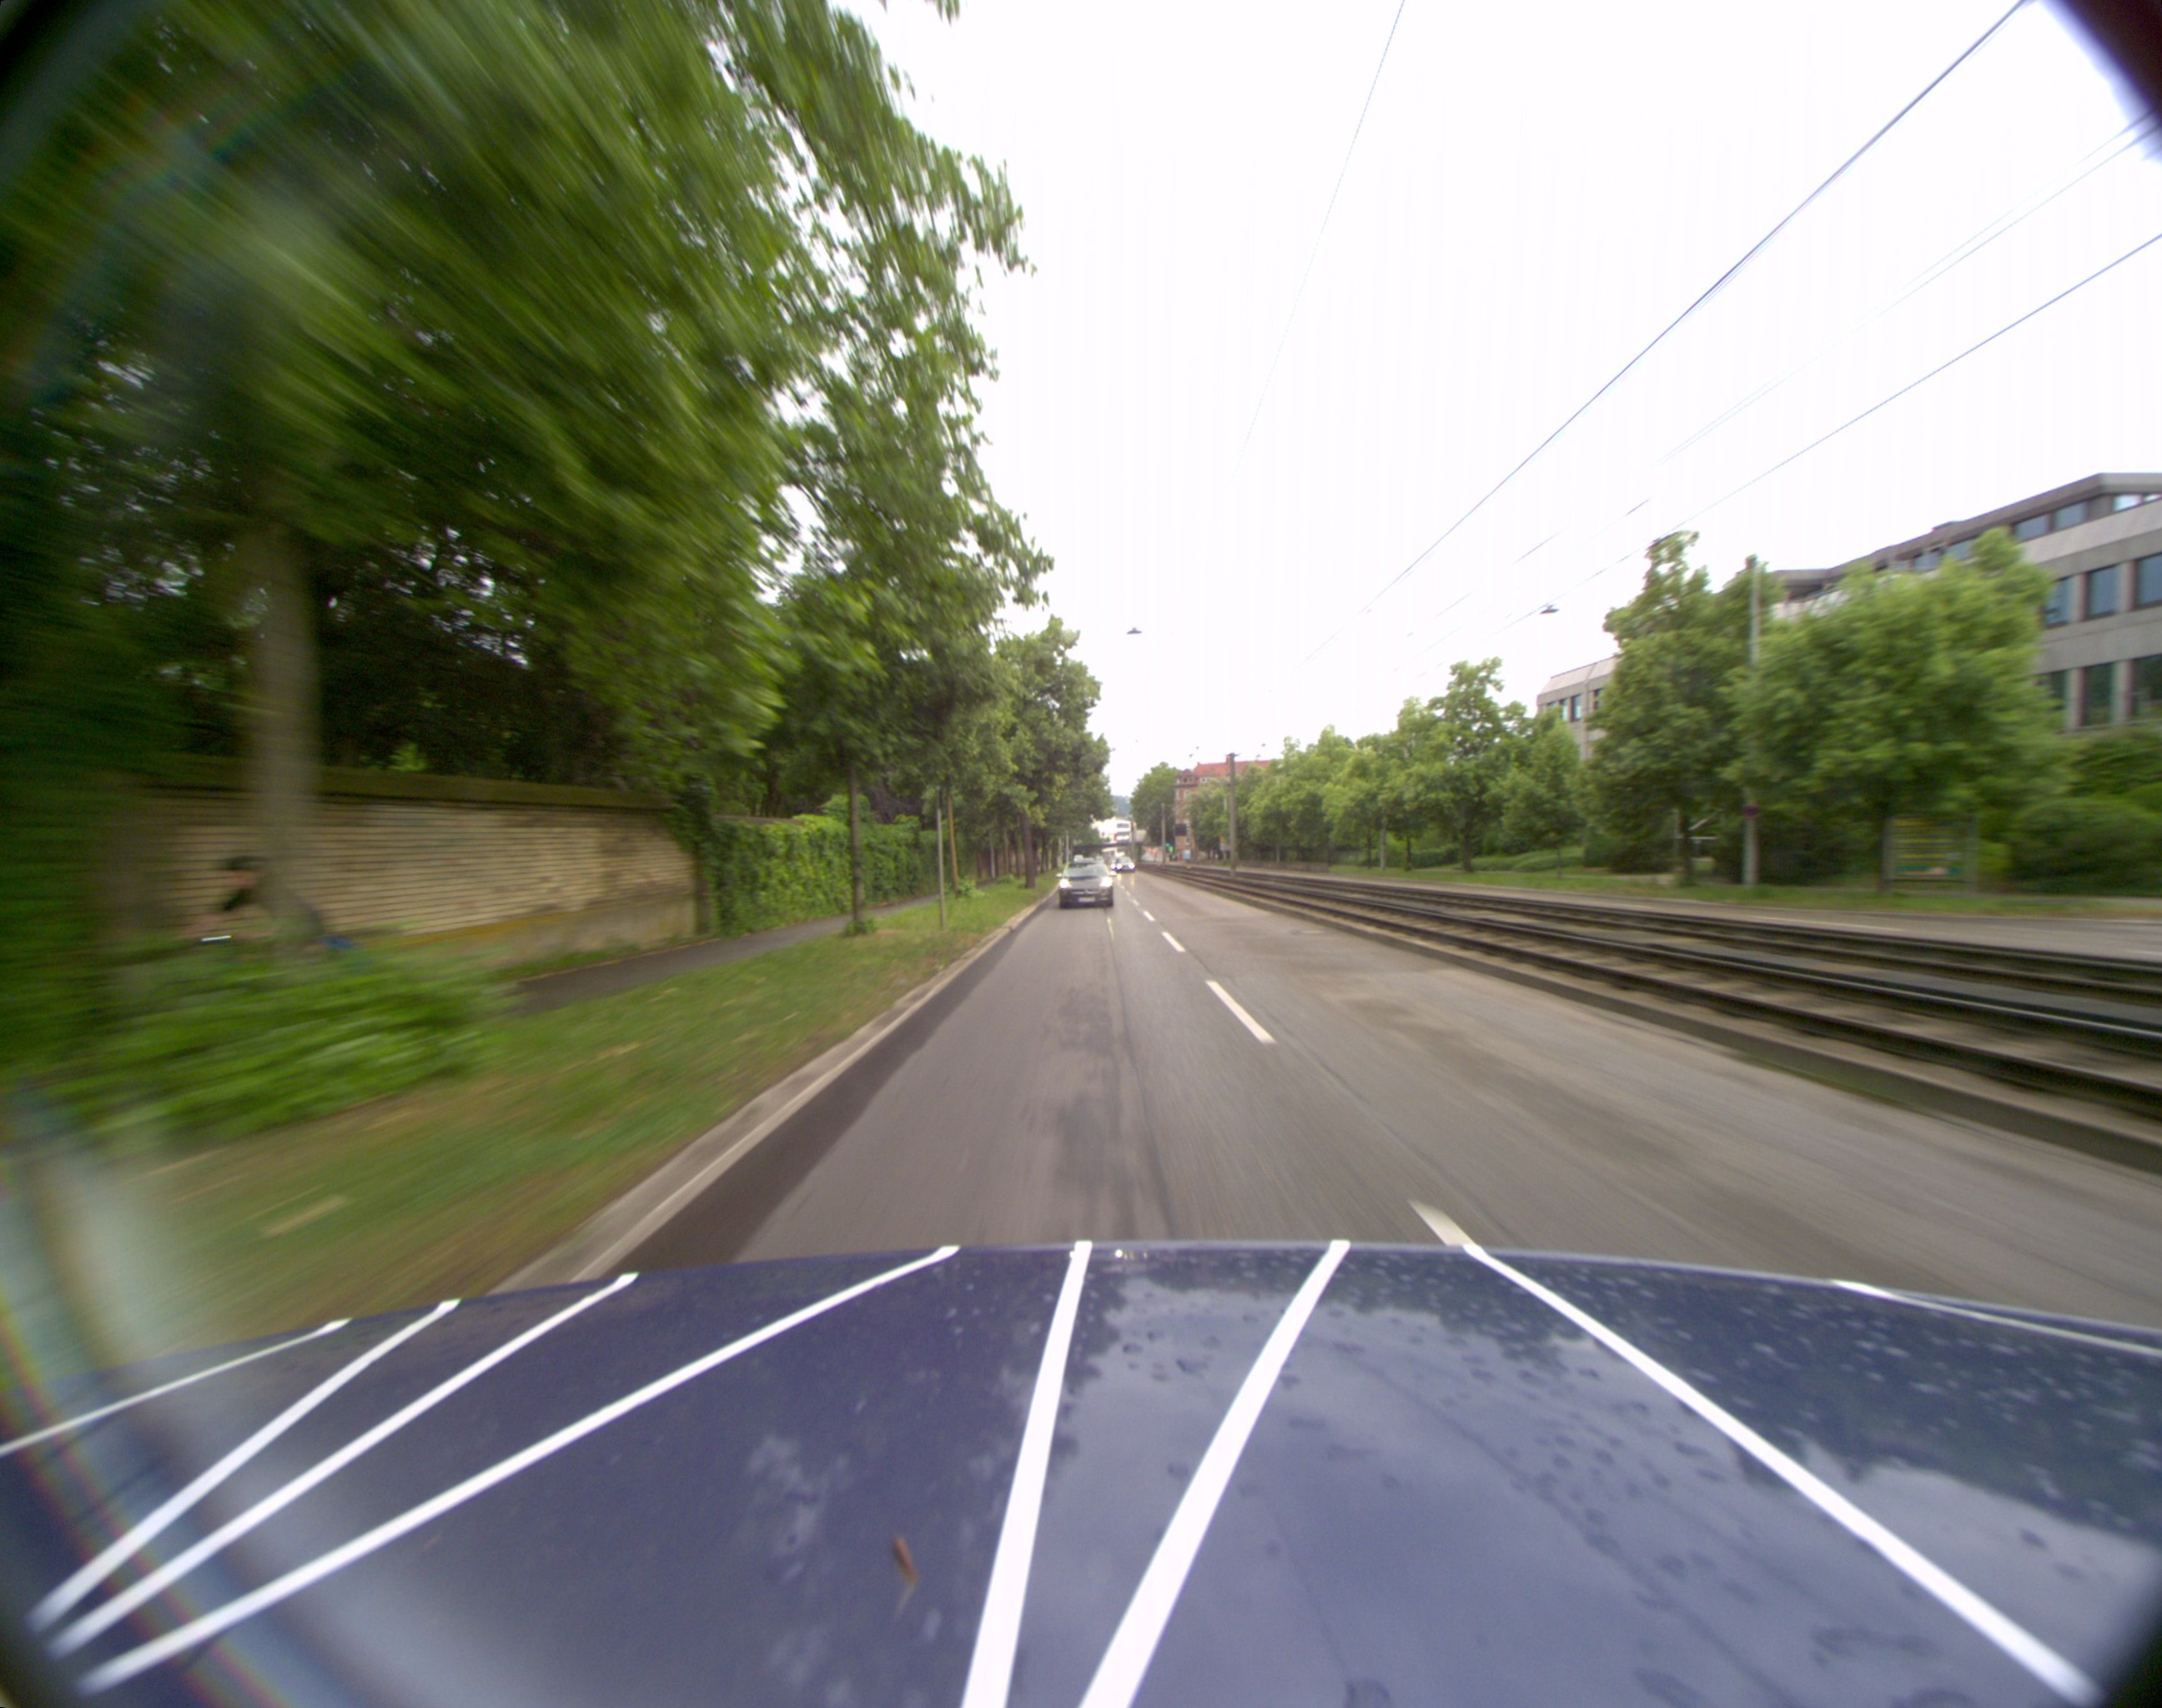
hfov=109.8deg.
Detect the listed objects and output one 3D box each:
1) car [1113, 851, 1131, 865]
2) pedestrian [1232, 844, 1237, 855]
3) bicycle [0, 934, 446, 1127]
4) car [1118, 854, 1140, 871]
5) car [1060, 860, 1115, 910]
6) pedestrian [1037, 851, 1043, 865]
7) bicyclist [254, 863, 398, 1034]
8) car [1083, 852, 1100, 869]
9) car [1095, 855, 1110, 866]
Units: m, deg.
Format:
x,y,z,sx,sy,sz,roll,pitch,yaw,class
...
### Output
x,y,z,sx,sy,sz,roll,pitch,yaw,class
4.515,0.461,84.840,1.806,1.483,4.102,-1,0,0,car
25.564,-0.760,126.904,0.597,1.892,0.654,-2,1,-2,pedestrian
-6.513,1.249,6.079,0.544,0.942,2.550,-1,0,4,bicycle
4.381,0.747,69.492,1.806,1.483,4.102,-1,0,0,car
0.205,0.944,25.004,1.658,1.483,3.829,-1,0,0,car
-4.964,0.481,91.604,0.710,1.769,0.901,-1,0,-2,pedestrian
-6.480,0.779,6.552,0.536,1.381,0.666,-1,1,4,bicyclist
1.334,0.800,92.810,1.998,2.002,4.000,-2,0,1,car
3.543,1.049,126.762,1.999,1.801,3.998,-2,0,-6,car
